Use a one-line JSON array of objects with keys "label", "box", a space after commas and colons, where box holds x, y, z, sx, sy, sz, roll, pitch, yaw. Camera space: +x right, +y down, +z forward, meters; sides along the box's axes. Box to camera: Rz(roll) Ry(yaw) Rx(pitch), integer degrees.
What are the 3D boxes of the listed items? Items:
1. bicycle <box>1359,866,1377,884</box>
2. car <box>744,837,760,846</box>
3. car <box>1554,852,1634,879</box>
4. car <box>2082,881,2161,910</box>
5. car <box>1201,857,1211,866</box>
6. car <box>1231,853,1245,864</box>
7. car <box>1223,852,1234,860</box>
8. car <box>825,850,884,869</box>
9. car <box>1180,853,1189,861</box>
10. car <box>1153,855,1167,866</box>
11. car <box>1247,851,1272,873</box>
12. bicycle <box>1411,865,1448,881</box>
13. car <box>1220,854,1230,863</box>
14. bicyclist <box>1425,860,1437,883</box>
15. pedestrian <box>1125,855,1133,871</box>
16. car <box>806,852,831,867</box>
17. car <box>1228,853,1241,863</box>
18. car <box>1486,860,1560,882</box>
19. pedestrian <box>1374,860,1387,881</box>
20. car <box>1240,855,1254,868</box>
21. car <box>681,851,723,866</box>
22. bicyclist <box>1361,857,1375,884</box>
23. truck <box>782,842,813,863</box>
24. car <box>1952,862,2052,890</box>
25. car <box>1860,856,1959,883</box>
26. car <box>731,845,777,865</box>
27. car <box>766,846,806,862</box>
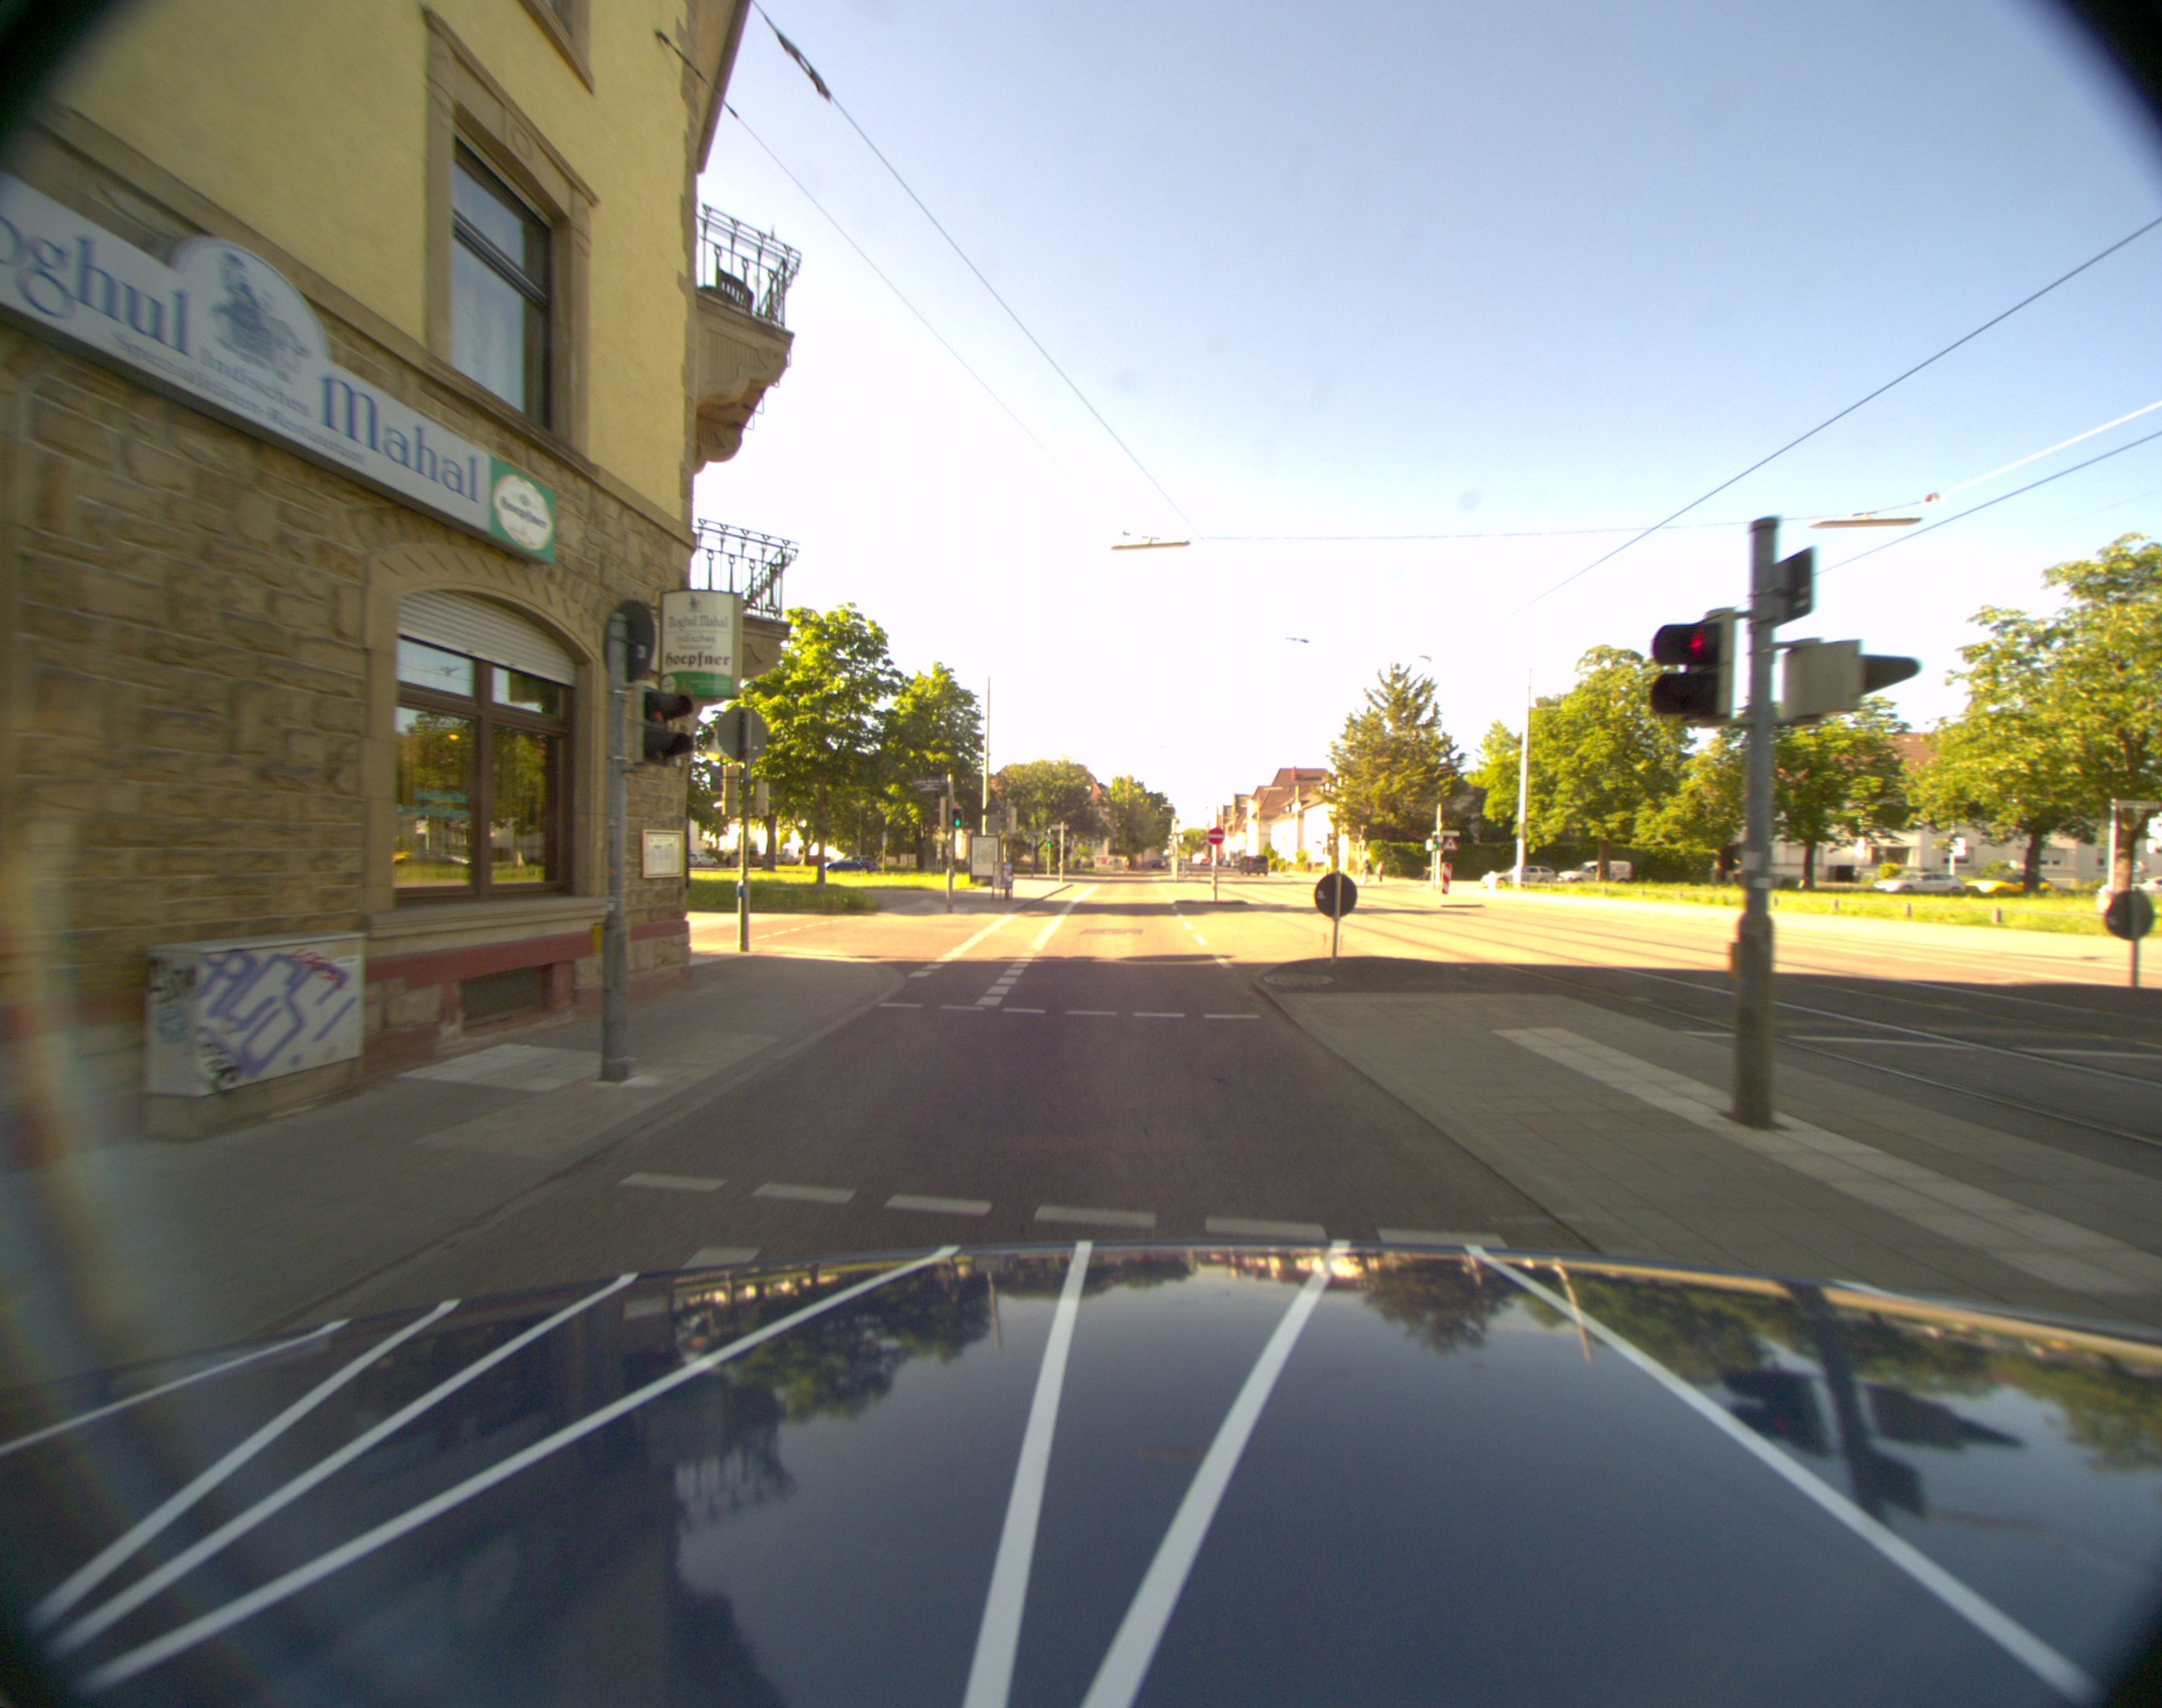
[{"label": "bicycle", "box": [18.530, 1.359, 49.054, 0.588, 1.107, 1.827, 1, 0, 4]}, {"label": "car", "box": [-55.780, -2.148, 128.781, 1.763, 1.462, 3.886, 0, 0, -37]}, {"label": "car", "box": [36.079, 0.760, 53.505, 4.309, 1.856, 1.818, 0, 1, 9]}, {"label": "car", "box": [67.036, 2.632, 48.321, 3.881, 1.732, 1.818, 0, 0, 9]}, {"label": "car", "box": [27.108, 1.629, 164.774, 1.922, 1.704, 4.003, -2, 0, 11]}, {"label": "car", "box": [26.640, 0.742, 129.054, 1.923, 1.704, 4.003, -2, 0, 8]}, {"label": "car", "box": [29.137, 0.383, 150.018, 1.922, 1.555, 4.003, -2, 0, 11]}, {"label": "car", "box": [-17.584, 0.448, 59.105, 3.995, 1.425, 1.817, 0, -1, 5]}, {"label": "car", "box": [23.319, 0.740, 170.812, 1.922, 1.704, 4.003, -2, 0, 10]}, {"label": "car", "box": [11.809, 0.954, 113.279, 1.703, 1.541, 4.004, -2, 0, 12]}, {"label": "car", "box": [17.197, 0.812, 73.406, 2.023, 2.001, 5.255, 2, -1, 10]}, {"label": "bicycle", "box": [24.553, 1.319, 53.586, 2.282, 1.111, 0.931, 1, 1, 15]}, {"label": "car", "box": [31.193, 0.966, 164.808, 1.923, 1.704, 4.003, -2, 0, 9]}, {"label": "bicyclist", "box": [24.657, 1.218, 53.548, 0.558, 1.613, 0.899, 1, 1, 15]}, {"label": "pedestrian", "box": [4.939, 0.899, 78.062, 0.654, 1.664, 0.944, 2, 1, 9]}, {"label": "car", "box": [-29.411, 0.624, 85.150, 1.607, 1.525, 4.281, 0, -1, -4]}, {"label": "car", "box": [27.309, 0.774, 134.973, 1.923, 1.704, 4.002, -2, 0, 7]}, {"label": "car", "box": [30.111, 1.158, 51.822, 3.993, 1.425, 1.818, 0, 0, 13]}, {"label": "pedestrian", "box": [22.008, 1.215, 55.805, 0.680, 1.547, 0.622, -2, 0, -41]}, {"label": "car", "box": [24.954, 1.054, 114.328, 1.922, 1.889, 4.003, -2, 0, 10]}, {"label": "car", "box": [-37.873, 0.421, 75.984, 1.756, 1.462, 3.899, 0, 0, 9]}, {"label": "bicyclist", "box": [18.537, 1.045, 49.042, 0.588, 1.701, 0.902, 1, 0, 4]}, {"label": "truck", "box": [-35.746, -0.164, 95.759, 2.004, 2.561, 4.966, 0, 1, -42]}, {"label": "car", "box": [59.733, 1.409, 49.363, 3.881, 1.732, 1.818, 0, 0, 9]}, {"label": "car", "box": [54.892, 1.006, 50.413, 4.195, 1.732, 1.818, 0, 0, 9]}, {"label": "car", "box": [-31.461, 0.124, 73.162, 1.920, 1.825, 4.346, 0, 0, 11]}, {"label": "car", "box": [-30.451, 0.027, 78.542, 1.919, 1.638, 3.718, 0, 0, 16]}]
